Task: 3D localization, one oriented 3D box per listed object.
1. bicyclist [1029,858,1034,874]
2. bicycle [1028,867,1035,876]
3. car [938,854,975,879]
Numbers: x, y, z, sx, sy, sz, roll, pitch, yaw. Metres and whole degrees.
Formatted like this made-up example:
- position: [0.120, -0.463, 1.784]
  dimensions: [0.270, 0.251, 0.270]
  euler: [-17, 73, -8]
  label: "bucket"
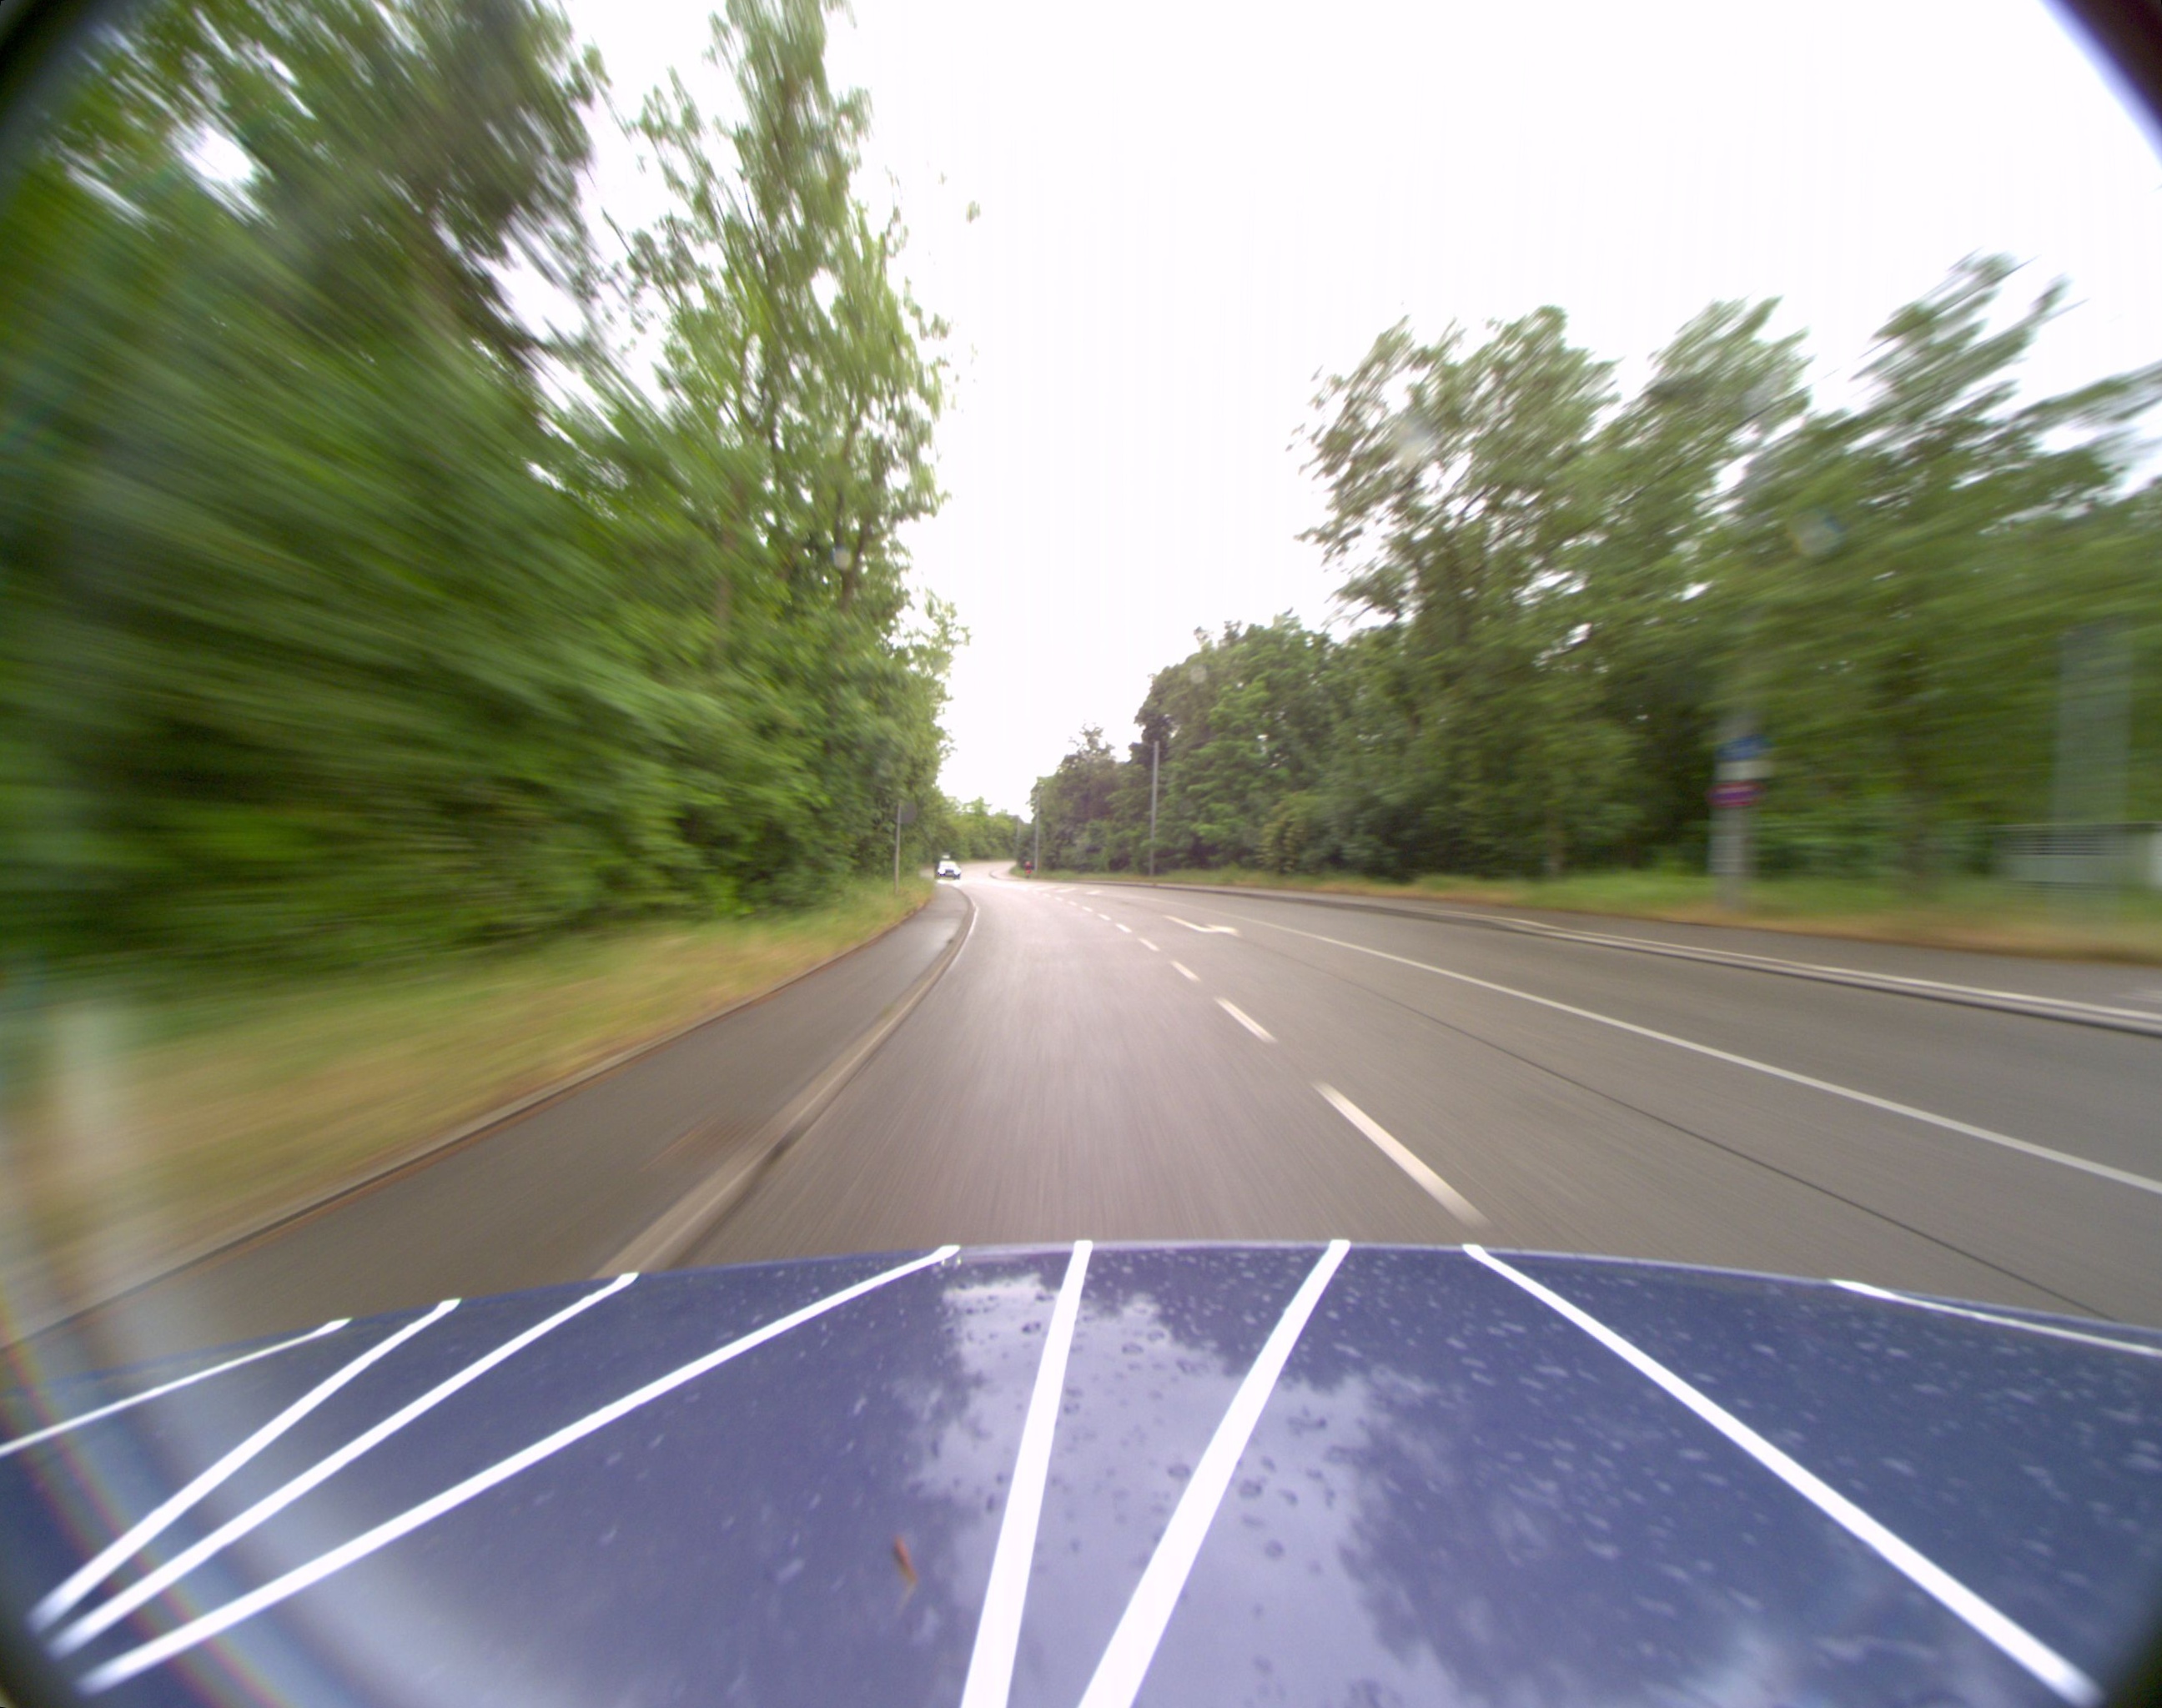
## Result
- position: [-4.922, 1.168, 75.434]
  dimensions: [0.337, 1.564, 1.297]
  euler: [1, -1, -11]
  label: "bicyclist"
- position: [-4.931, 1.760, 75.448]
  dimensions: [0.357, 0.844, 2.091]
  euler: [1, -1, -11]
  label: "bicycle"
- position: [-9.816, 1.034, 60.118]
  dimensions: [1.831, 1.510, 4.004]
  euler: [8, -3, 4]
  label: "car"
